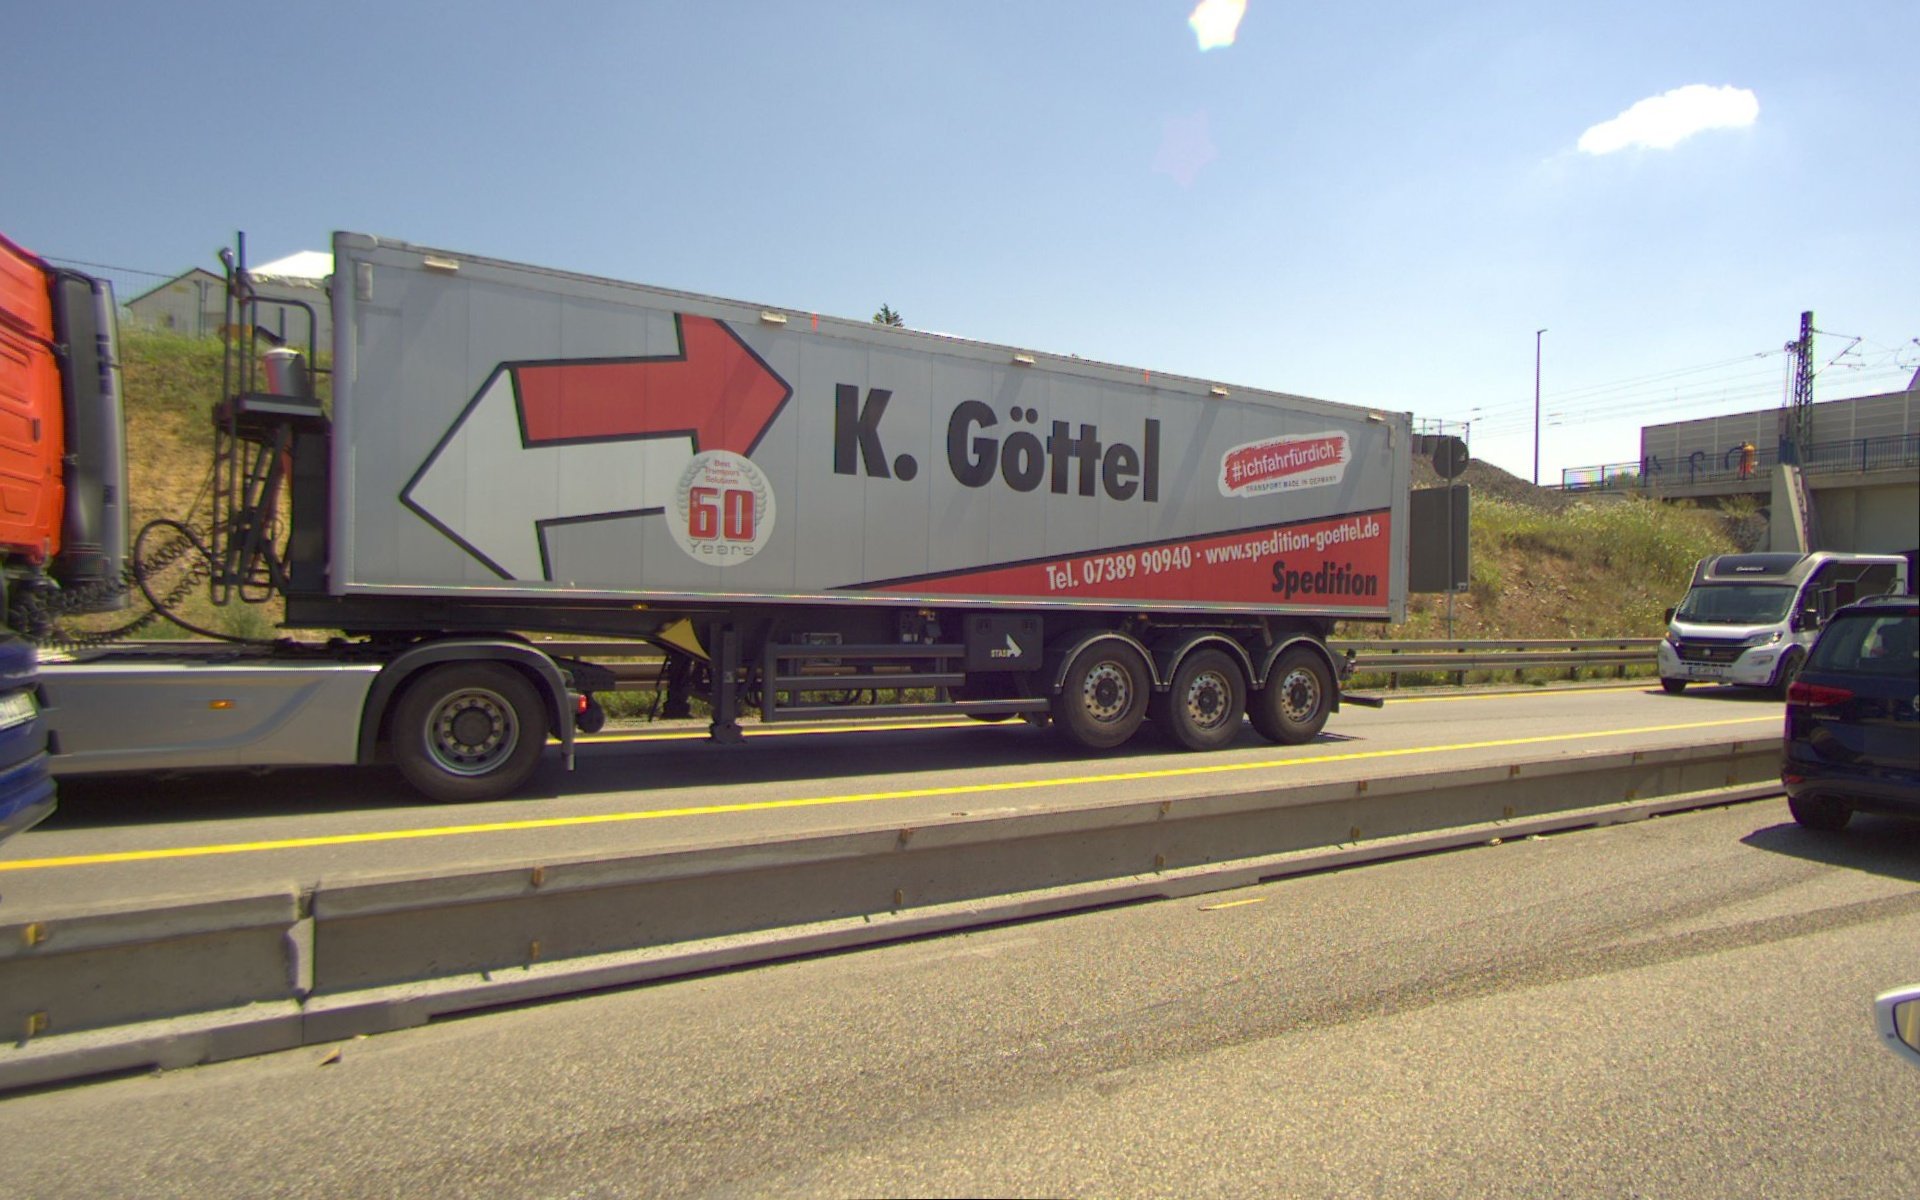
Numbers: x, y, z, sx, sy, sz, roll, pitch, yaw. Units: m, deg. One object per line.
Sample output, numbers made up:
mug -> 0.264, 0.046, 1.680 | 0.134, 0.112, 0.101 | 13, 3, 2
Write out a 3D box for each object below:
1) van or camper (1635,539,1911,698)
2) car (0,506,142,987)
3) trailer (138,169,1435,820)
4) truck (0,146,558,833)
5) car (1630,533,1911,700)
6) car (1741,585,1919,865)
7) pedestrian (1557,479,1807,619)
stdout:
van or camper -> 16.187, 0.366, 19.873 | 6.380, 2.741, 2.113 | 1, 0, -31
car -> -5.791, 0.464, 3.202 | 4.626, 1.686, 1.826 | 1, 0, -28
trailer -> -0.324, -0.481, 9.936 | 11.674, 3.867, 2.644 | 2, 0, -29
truck -> -5.833, -0.627, 6.933 | 5.317, 3.879, 2.573 | 2, 0, -30
car -> 16.156, 0.346, 19.893 | 6.485, 2.858, 2.263 | 2, 0, -32
car -> 7.559, 0.774, 7.046 | 4.336, 1.657, 1.726 | 1, 0, -29
pedestrian -> 12.278, -0.769, 17.061 | 3.953, 2.040, 1.984 | 2, 0, -30
